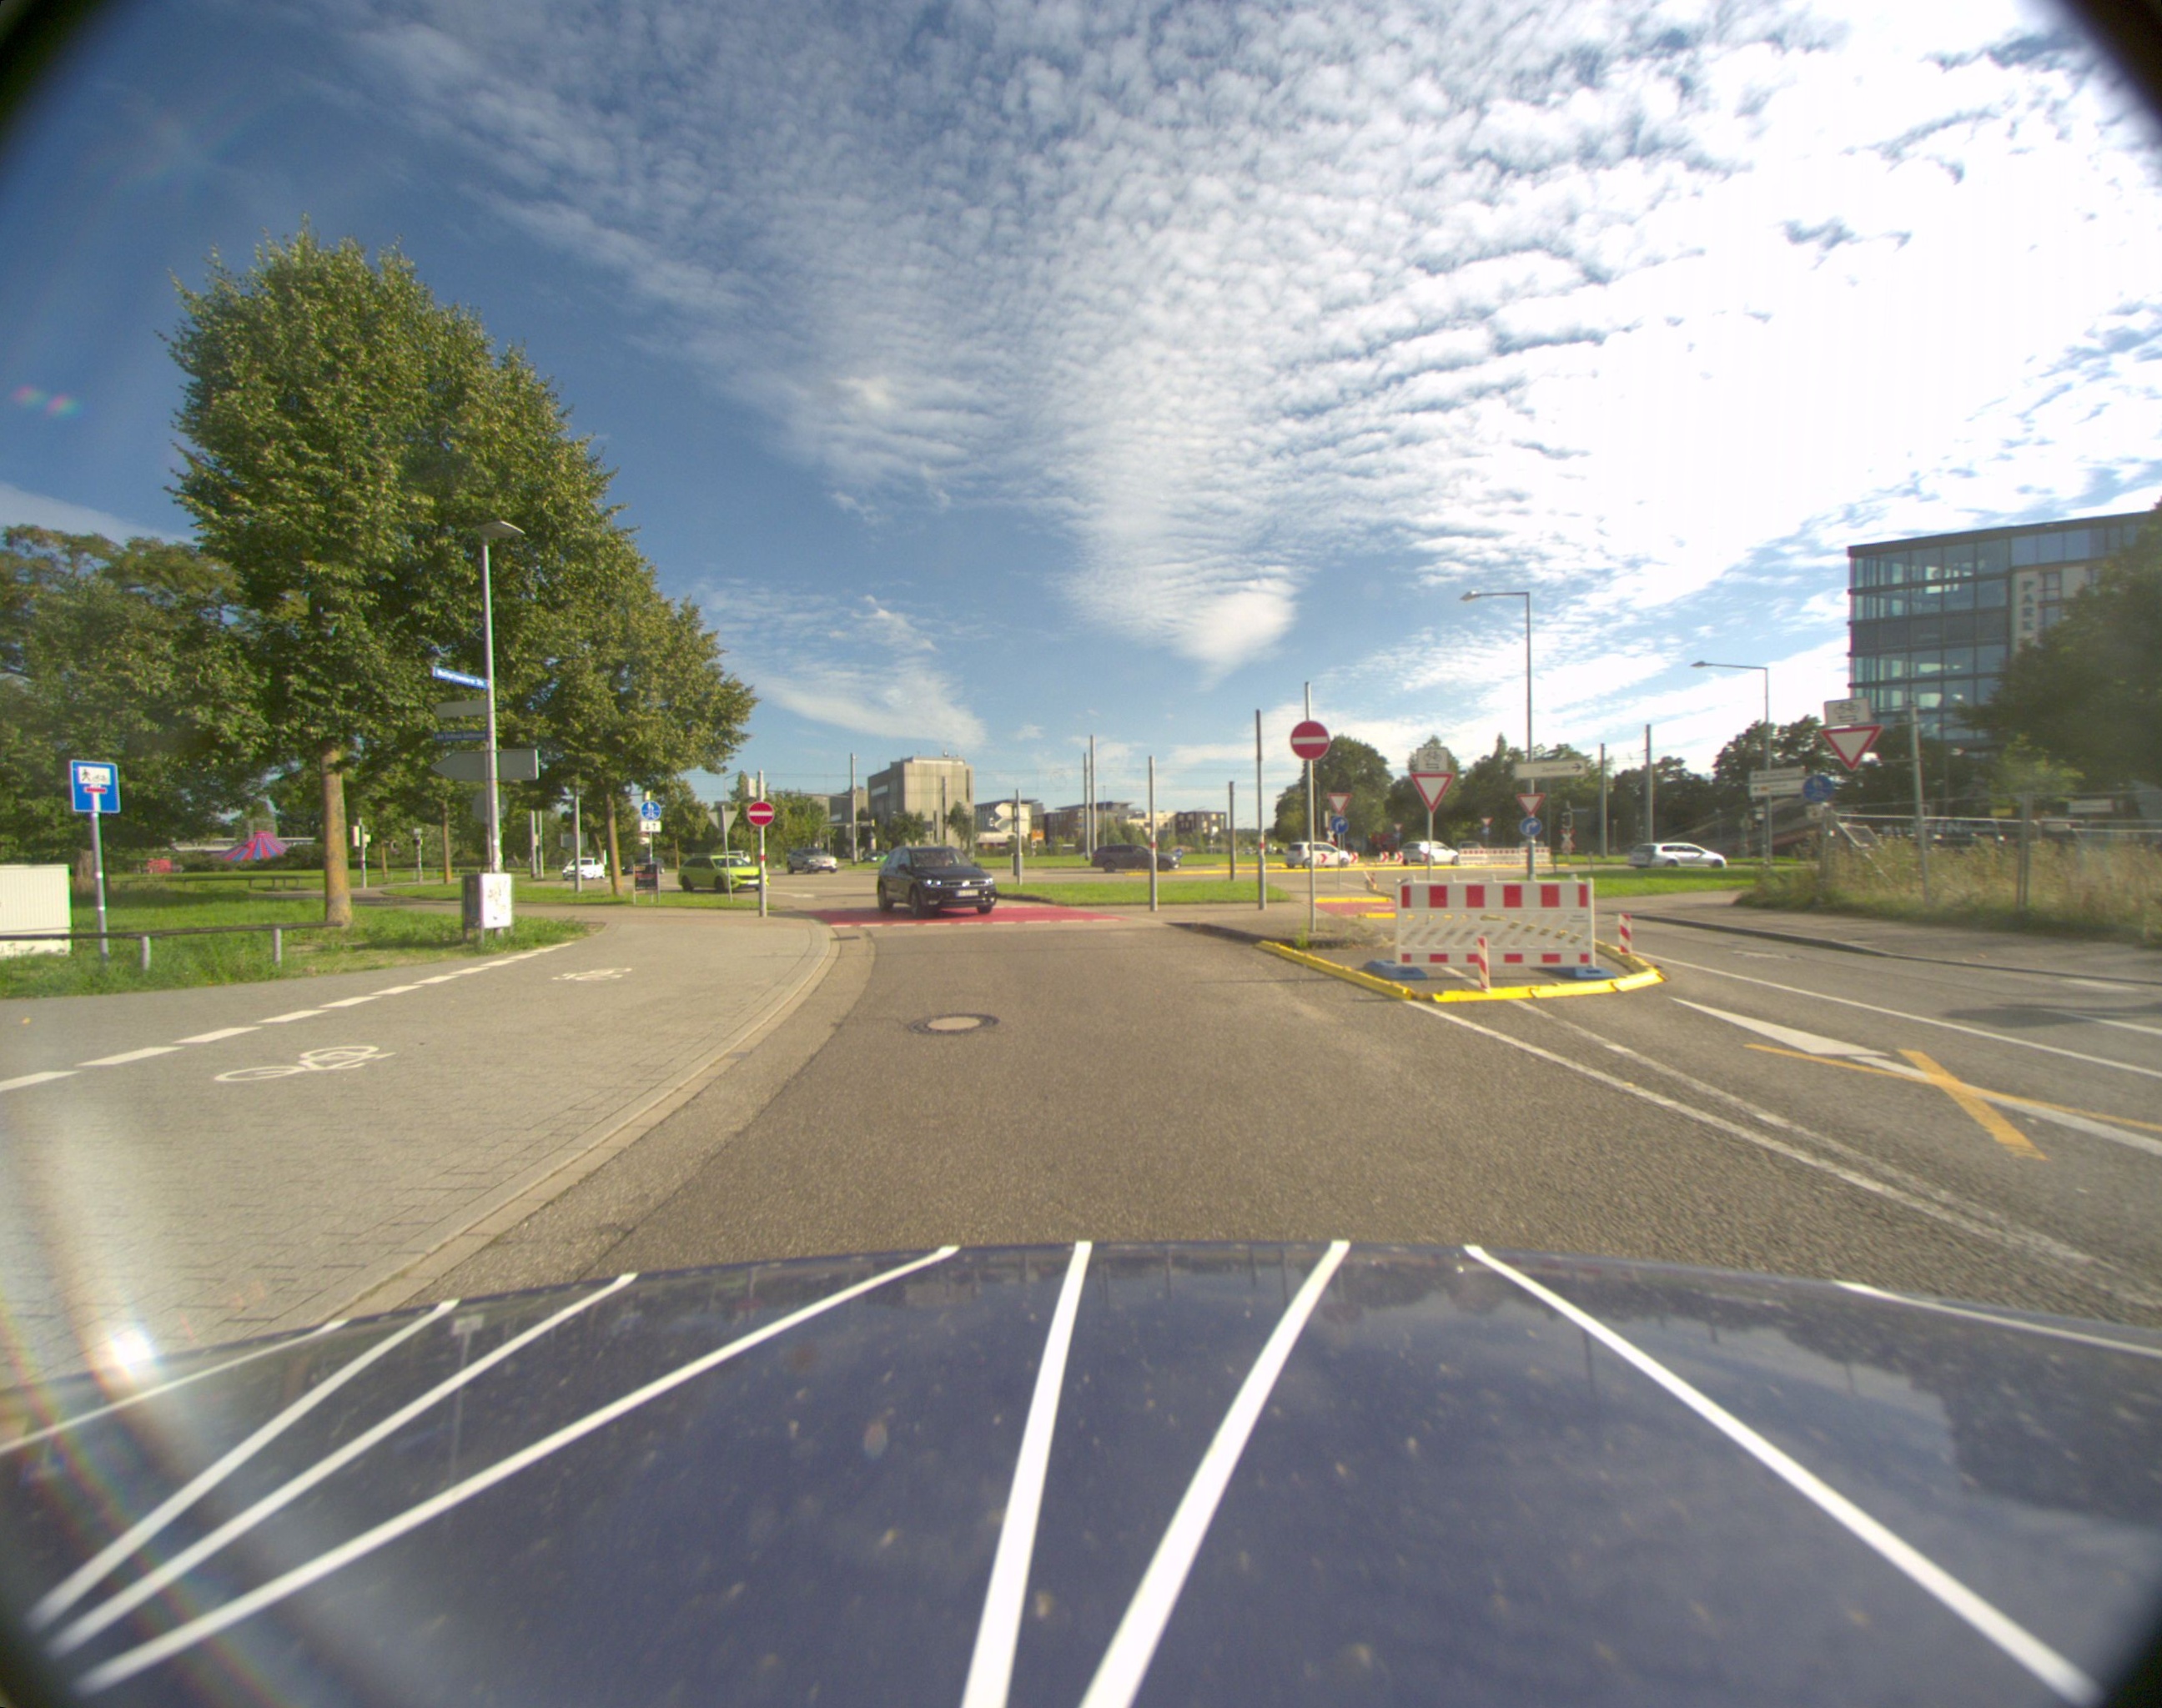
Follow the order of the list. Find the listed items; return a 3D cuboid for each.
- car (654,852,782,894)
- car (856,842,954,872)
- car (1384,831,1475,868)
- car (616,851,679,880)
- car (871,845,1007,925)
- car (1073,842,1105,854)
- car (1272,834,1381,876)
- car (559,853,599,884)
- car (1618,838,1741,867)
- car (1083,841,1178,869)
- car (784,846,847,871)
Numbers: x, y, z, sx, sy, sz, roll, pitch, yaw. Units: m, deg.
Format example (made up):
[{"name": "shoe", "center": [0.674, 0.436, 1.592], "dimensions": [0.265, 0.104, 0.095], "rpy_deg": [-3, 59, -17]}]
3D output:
[{"name": "car", "center": [-14.706, 0.754, 30.612], "dimensions": [5.972, 1.461, 2.046], "rpy_deg": [-1, 2, 37]}, {"name": "car", "center": [-9.888, 0.158, 42.809], "dimensions": [4.858, 1.515, 2.309], "rpy_deg": [-1, 2, 22]}, {"name": "car", "center": [21.513, -0.301, 46.838], "dimensions": [5.815, 2.047, 2.471], "rpy_deg": [-3, 2, -35]}, {"name": "car", "center": [-30.680, 0.747, 53.637], "dimensions": [2.482, 1.856, 6.234], "rpy_deg": [-2, 1, -43]}, {"name": "car", "center": [-3.586, 0.651, 18.526], "dimensions": [1.825, 1.649, 4.232], "rpy_deg": [-3, 2, -31]}, {"name": "car", "center": [1.061, -0.806, 98.371], "dimensions": [3.999, 1.547, 1.885], "rpy_deg": [-1, 1, -5]}, {"name": "car", "center": [13.738, 0.028, 42.512], "dimensions": [5.508, 2.047, 2.472], "rpy_deg": [-3, 2, -23]}, {"name": "car", "center": [-33.095, 0.927, 50.234], "dimensions": [1.842, 1.856, 5.391], "rpy_deg": [-3, 2, -30]}, {"name": "car", "center": [29.771, -0.096, 37.847], "dimensions": [4.811, 1.344, 1.998], "rpy_deg": [-1, 1, -7]}, {"name": "car", "center": [2.547, 0.043, 39.558], "dimensions": [4.808, 1.344, 2.000], "rpy_deg": [-1, 1, 1]}, {"name": "car", "center": [-16.462, 0.255, 47.007], "dimensions": [2.004, 1.477, 4.251], "rpy_deg": [-2, 2, -44]}]
